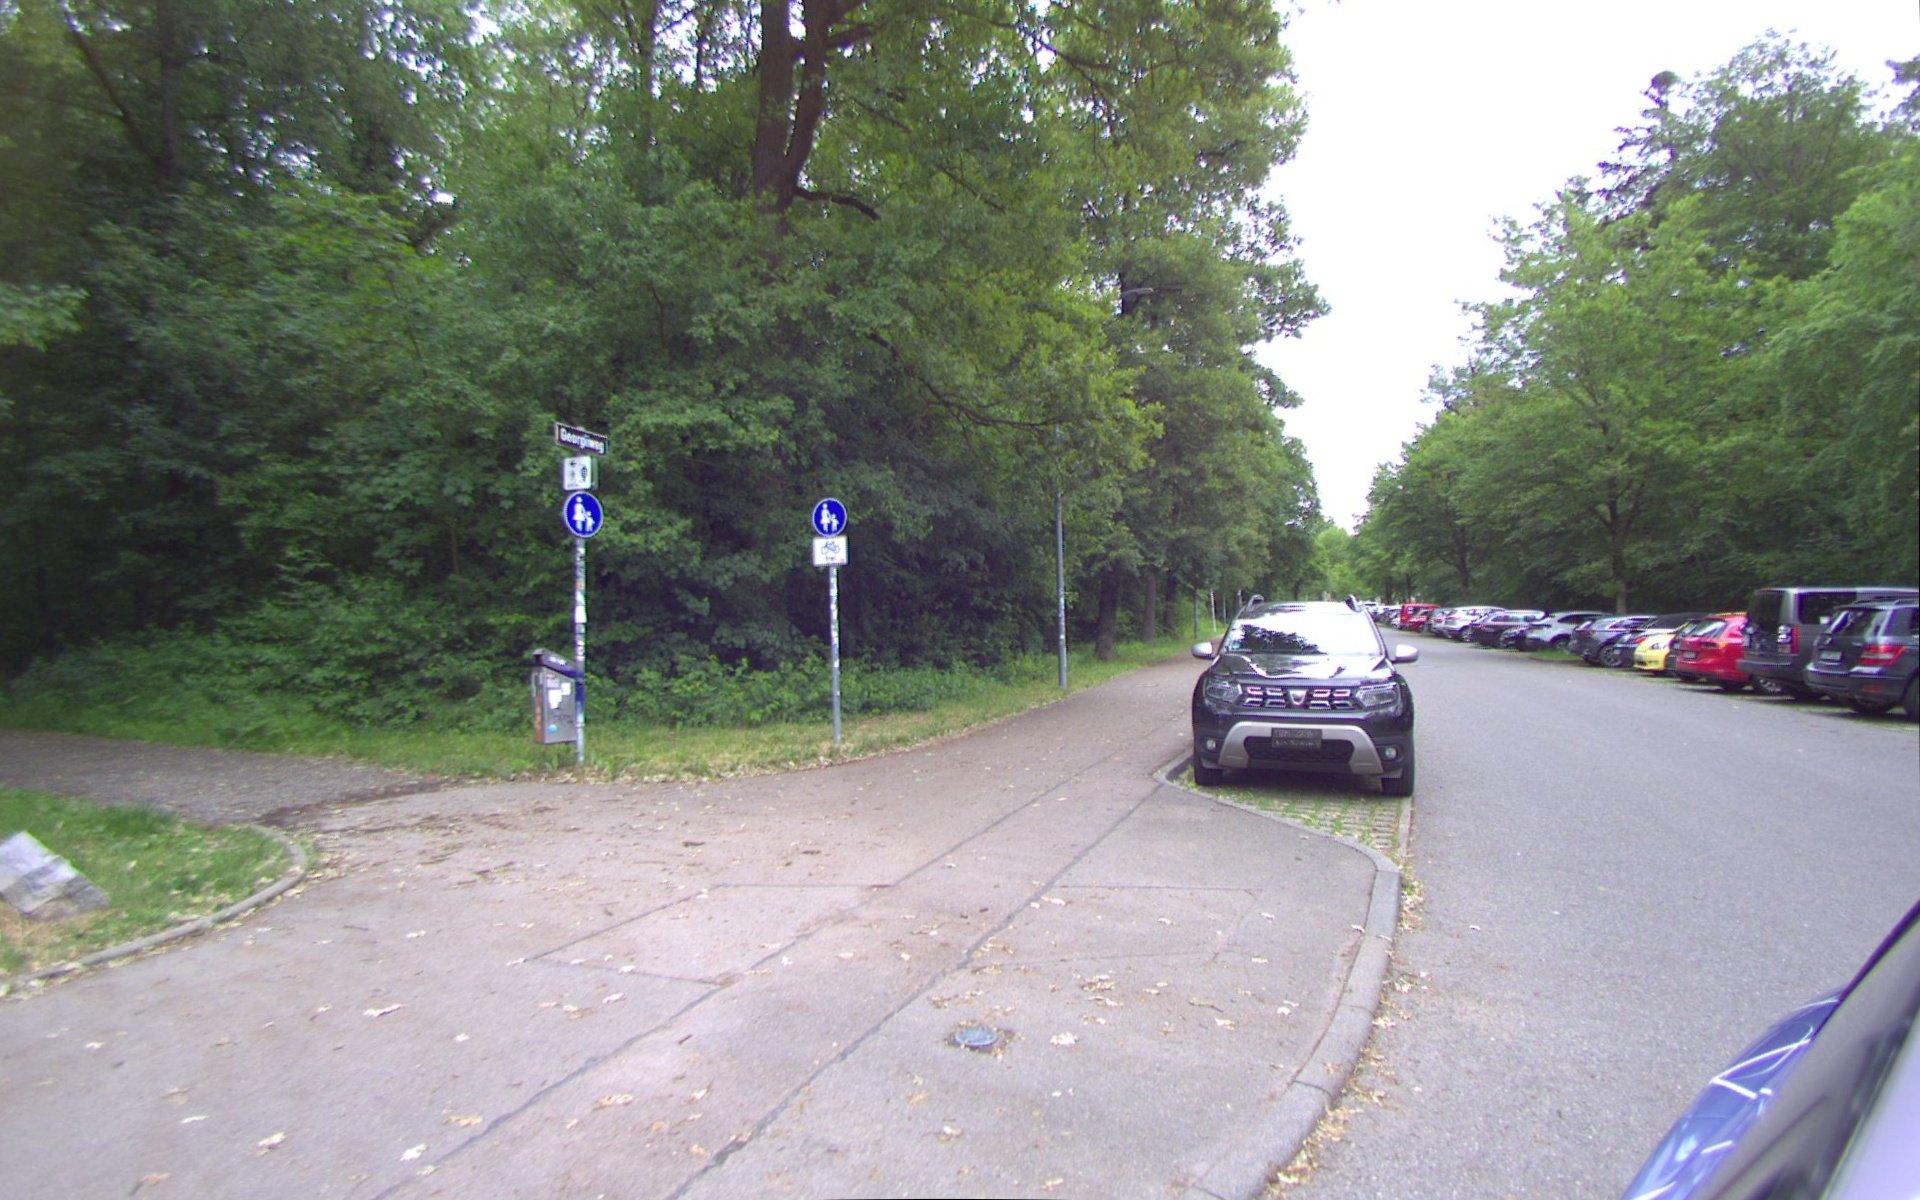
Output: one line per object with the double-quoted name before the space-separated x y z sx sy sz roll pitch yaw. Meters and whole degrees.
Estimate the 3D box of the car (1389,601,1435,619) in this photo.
"car" 44.042 0.961 98.681 3.945 1.749 1.704 0 -1 17

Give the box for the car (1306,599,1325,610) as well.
"car" 48.517 0.632 138.084 1.492 1.498 3.622 -1 -1 33

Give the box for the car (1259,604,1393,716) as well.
"car" 5.701 0.842 15.982 1.719 1.514 4.207 -1 -1 19

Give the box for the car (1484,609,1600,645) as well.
"car" 24.272 1.124 42.337 3.952 1.454 1.636 0 -1 22

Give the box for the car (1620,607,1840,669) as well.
"car" 19.003 0.947 25.191 3.949 1.457 1.722 -1 -1 20

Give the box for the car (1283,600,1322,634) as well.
"car" 17.621 0.840 52.198 1.718 1.664 5.043 -1 -1 17

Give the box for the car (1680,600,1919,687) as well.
"car" 15.892 0.780 18.567 3.946 1.495 1.769 -1 -1 18

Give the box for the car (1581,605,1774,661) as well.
"car" 19.605 0.917 27.859 3.949 1.457 1.703 -1 -1 20

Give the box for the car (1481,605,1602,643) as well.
"car" 23.072 0.939 40.302 3.952 1.454 1.665 0 -1 22

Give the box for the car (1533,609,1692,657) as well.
"car" 20.909 1.049 32.597 3.949 1.486 1.704 -1 -1 20

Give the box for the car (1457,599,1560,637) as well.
"car" 25.568 0.836 47.336 3.947 1.683 1.803 0 -1 19

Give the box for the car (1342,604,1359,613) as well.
"car" 62.056 1.288 160.772 1.761 1.332 3.843 -1 0 34

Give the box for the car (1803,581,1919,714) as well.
"car" 14.504 0.614 13.959 3.947 1.788 1.813 -1 -1 19

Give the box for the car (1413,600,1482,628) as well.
"car" 32.797 0.908 68.196 3.949 1.838 1.806 0 -1 20

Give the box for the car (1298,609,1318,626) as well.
"car" 35.958 1.779 104.565 1.564 1.641 3.929 -2 -1 24

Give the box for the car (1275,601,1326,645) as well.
"car" 12.905 0.859 38.472 1.718 1.588 3.985 -1 -1 17

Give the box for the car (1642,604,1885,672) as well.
"car" 18.131 0.868 23.056 3.949 1.457 1.607 -1 -1 20

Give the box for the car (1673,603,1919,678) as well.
"car" 17.323 0.828 20.827 3.946 1.457 1.662 -1 -1 18

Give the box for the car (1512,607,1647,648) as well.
"car" 22.670 1.000 37.193 3.952 1.454 1.665 0 -1 22

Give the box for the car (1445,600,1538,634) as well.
"car" 27.163 0.842 51.861 3.950 1.683 1.802 0 -1 21

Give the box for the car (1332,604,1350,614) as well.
"car" 57.595 1.329 152.837 1.761 1.333 3.841 -1 -4 34

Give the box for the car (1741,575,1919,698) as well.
"car" 15.311 0.566 16.242 3.949 1.886 1.801 -2 -1 20

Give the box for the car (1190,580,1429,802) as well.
"car" 3.356 0.701 9.897 1.719 1.654 4.348 -1 -1 19

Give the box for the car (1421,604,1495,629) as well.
"car" 31.198 1.044 63.491 3.950 1.535 1.759 0 -1 20
